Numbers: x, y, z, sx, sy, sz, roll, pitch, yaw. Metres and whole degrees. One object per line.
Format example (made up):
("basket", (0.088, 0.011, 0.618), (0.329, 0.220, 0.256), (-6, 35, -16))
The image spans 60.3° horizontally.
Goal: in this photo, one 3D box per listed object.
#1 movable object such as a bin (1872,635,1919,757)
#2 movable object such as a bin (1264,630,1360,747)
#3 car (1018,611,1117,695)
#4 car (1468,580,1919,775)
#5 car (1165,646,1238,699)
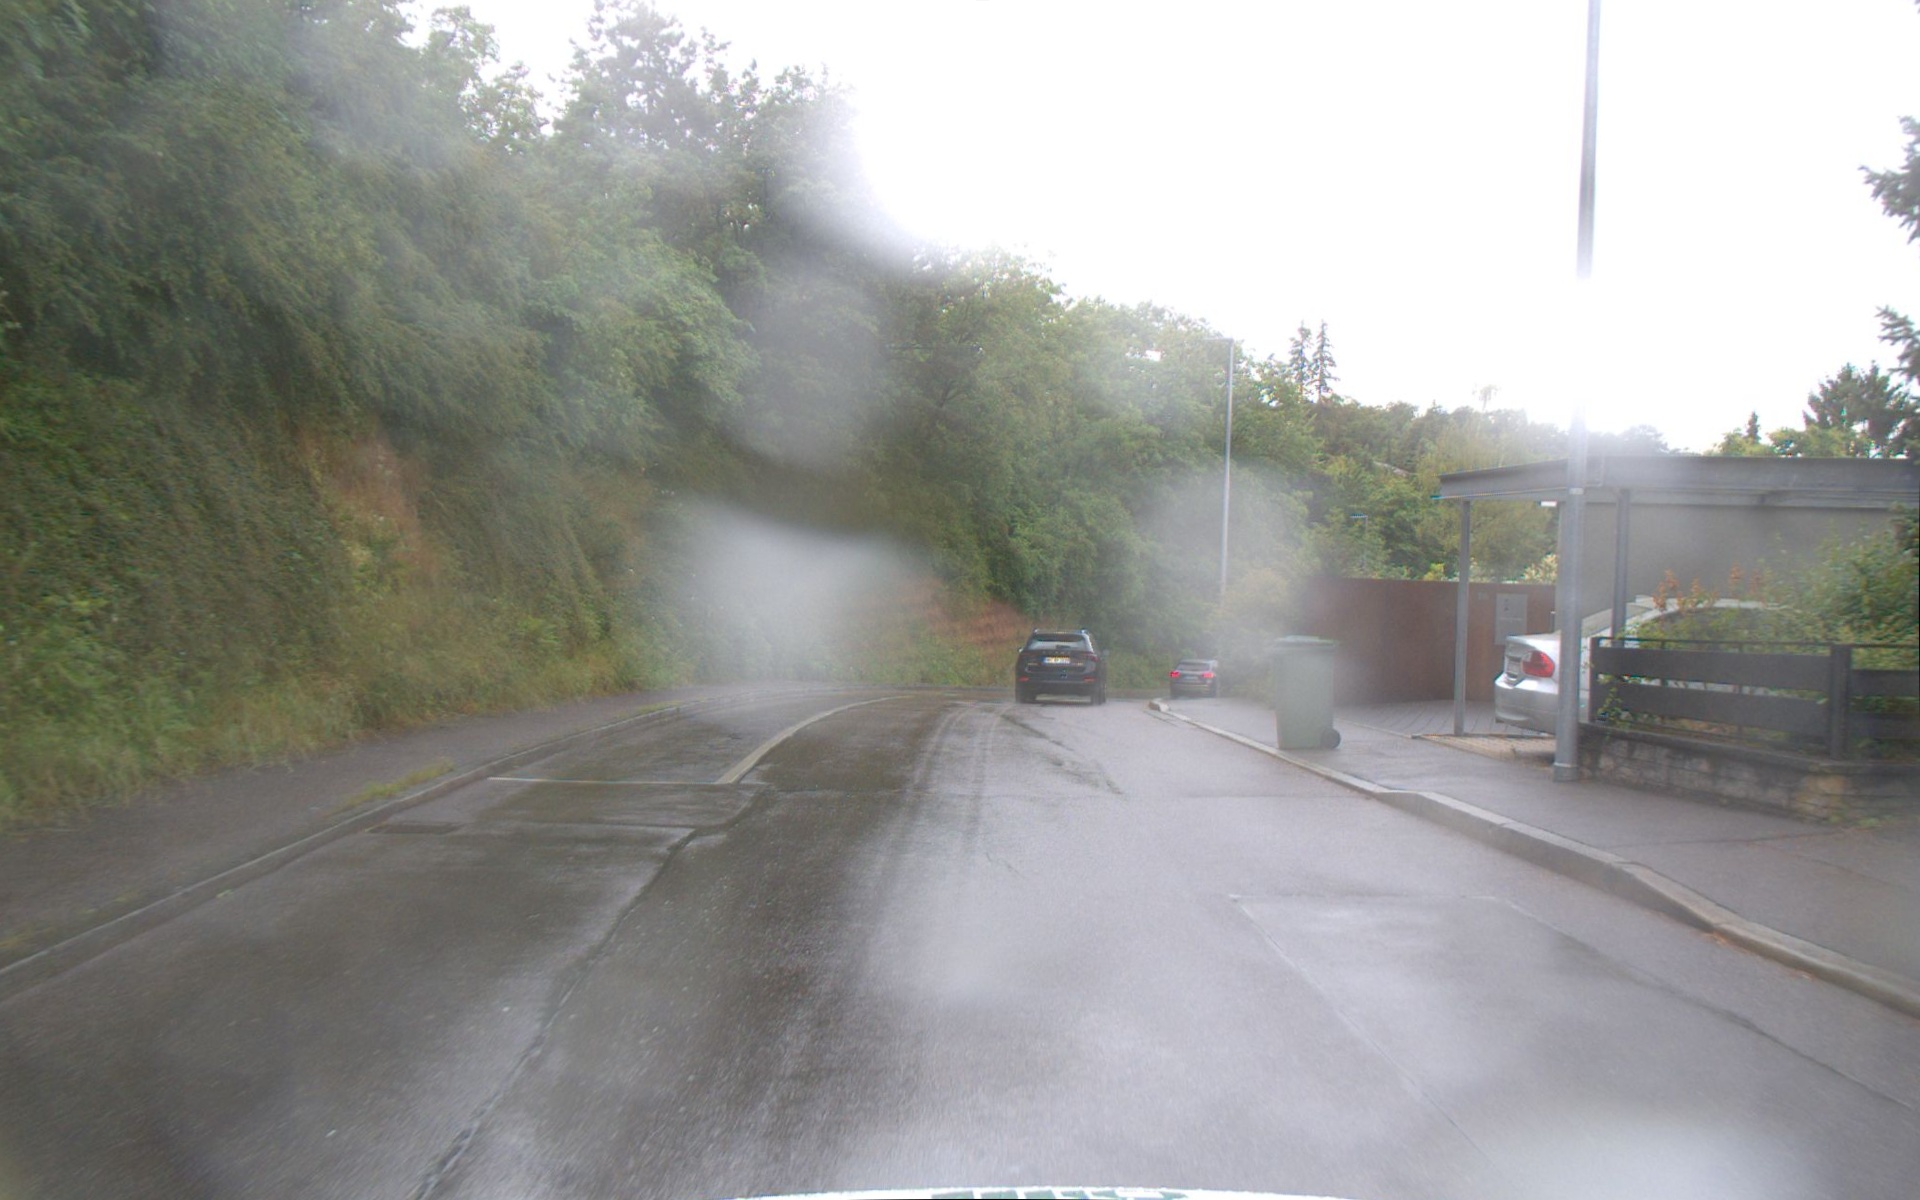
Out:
("movable object such as a bin", (9.054, 0.892, 15.340), (0.933, 1.076, 0.572), (1, 2, 18))
("movable object such as a bin", (3.559, 0.885, 16.776), (0.773, 1.115, 0.675), (-3, -1, -1))
("car", (2.226, 1.104, 33.814), (1.829, 1.539, 4.094), (3, -2, 5))
("car", (6.695, 0.648, 14.299), (4.127, 1.440, 1.943), (2, -1, 9))
("car", (9.221, 2.713, 62.789), (1.952, 1.633, 4.411), (2, 2, 19))
